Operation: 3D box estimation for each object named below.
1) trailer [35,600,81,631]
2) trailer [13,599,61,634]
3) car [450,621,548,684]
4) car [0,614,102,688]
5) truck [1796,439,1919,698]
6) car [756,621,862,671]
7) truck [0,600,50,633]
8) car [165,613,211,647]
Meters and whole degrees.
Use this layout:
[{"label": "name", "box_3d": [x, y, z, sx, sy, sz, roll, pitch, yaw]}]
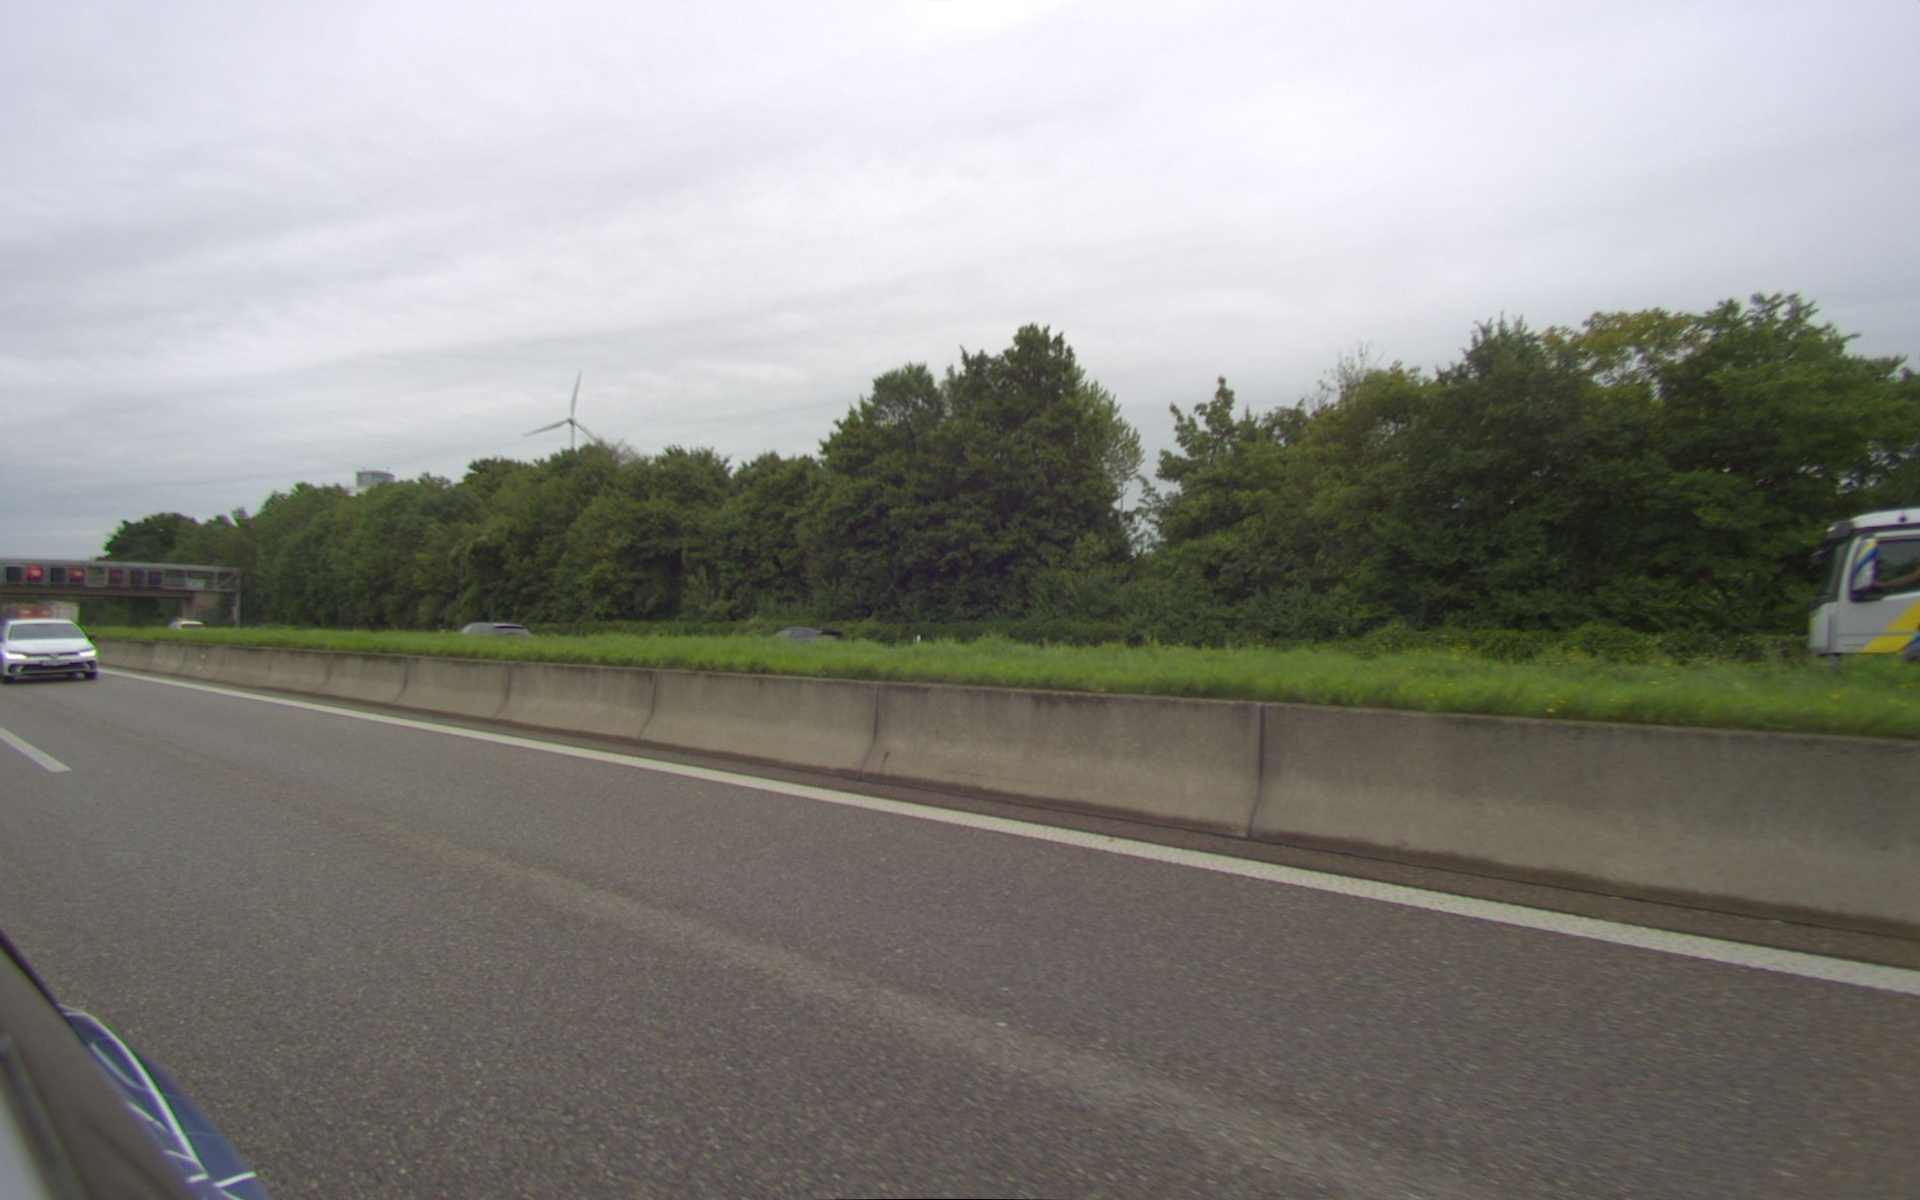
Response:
[{"label": "trailer", "box_3d": [-108.795, 1.817, 121.989, 11.865, 3.566, 2.658, -1, 0, 41]}, {"label": "trailer", "box_3d": [-97.339, 1.693, 106.686, 8.316, 3.485, 2.901, -1, 0, 41]}, {"label": "car", "box_3d": [-16.279, 1.805, 35.656, 3.952, 2.029, 1.684, -1, 0, 41]}, {"label": "car", "box_3d": [-22.460, 1.176, 24.614, 4.661, 1.630, 1.735, -1, -2, 41]}, {"label": "truck", "box_3d": [16.307, -0.453, 10.733, 11.355, 3.245, 2.853, -1, 0, 42]}, {"label": "car", "box_3d": [-5.984, 1.755, 39.965, 3.997, 1.807, 1.973, -1, 0, 40]}, {"label": "truck", "box_3d": [-104.693, 1.834, 113.223, 11.178, 3.492, 2.921, -1, 0, 41]}, {"label": "car", "box_3d": [-48.590, 1.860, 63.674, 3.998, 2.029, 1.603, -1, 0, 41]}]
